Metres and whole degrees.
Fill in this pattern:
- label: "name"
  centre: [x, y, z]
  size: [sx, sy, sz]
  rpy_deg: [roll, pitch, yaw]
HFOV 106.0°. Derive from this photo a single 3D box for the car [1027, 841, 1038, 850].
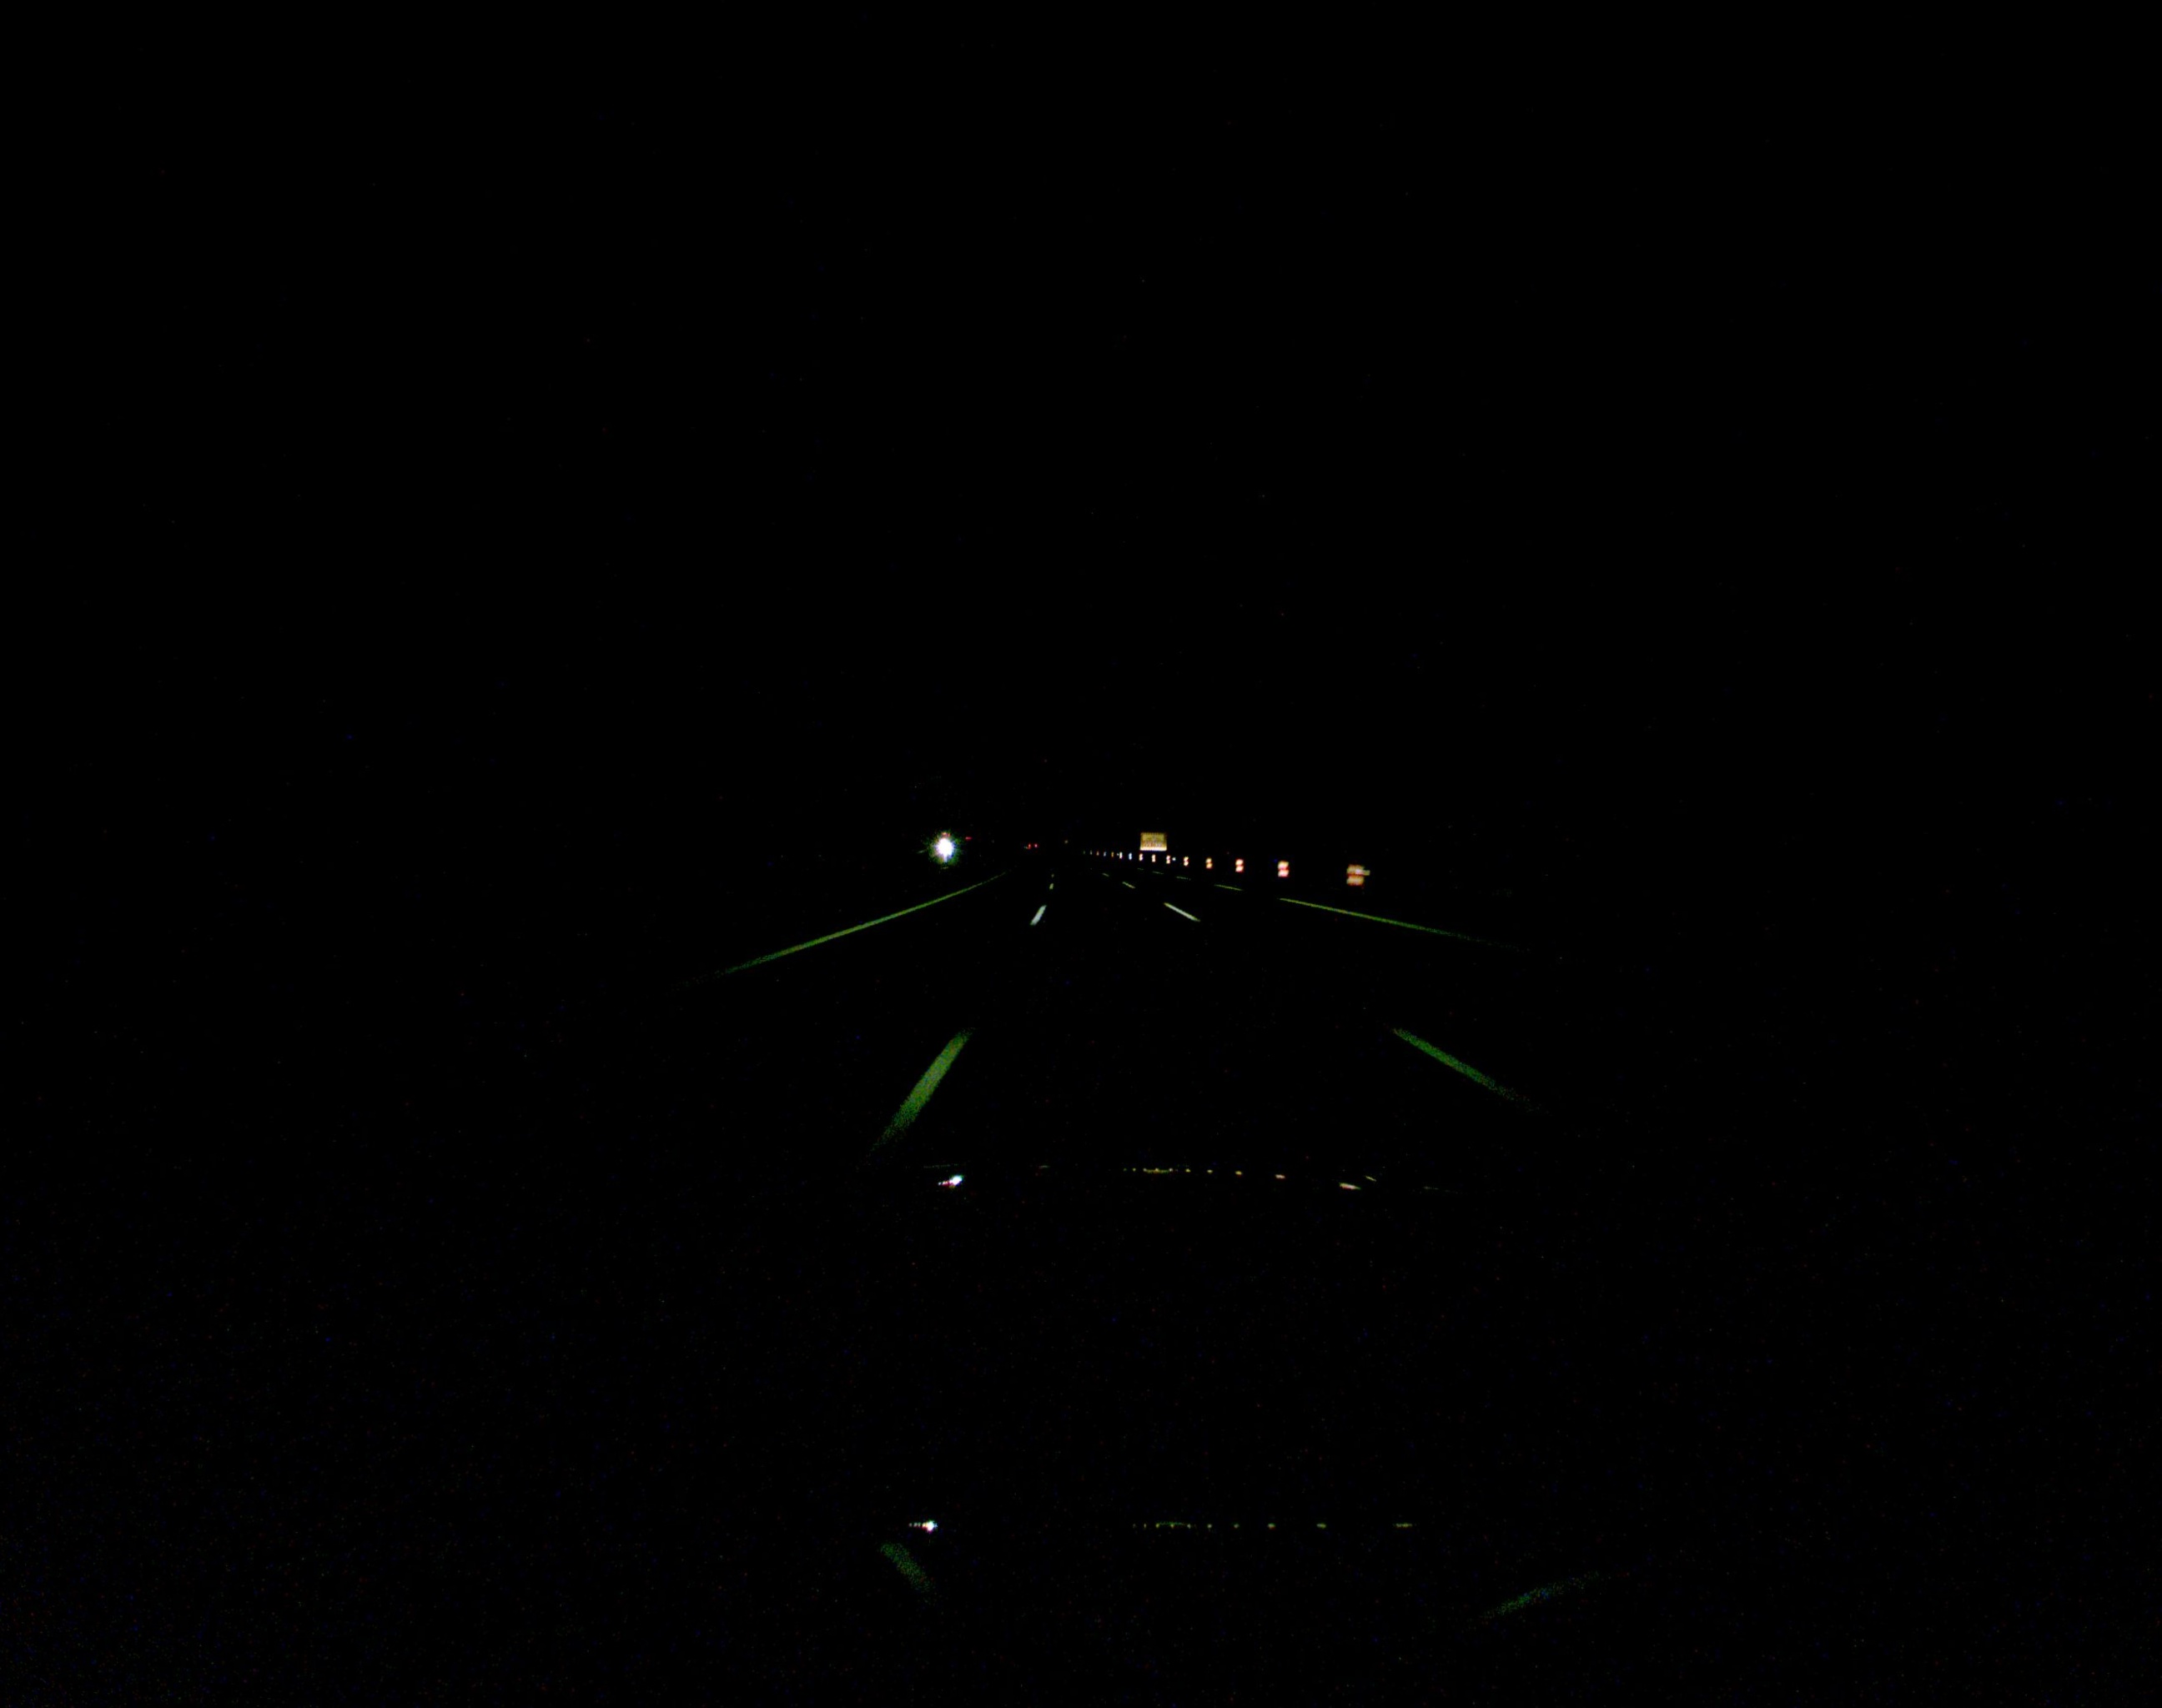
- label: "car"
  centre: [-14.049, -2.435, 235.125]
  size: [2.527, 2.553, 6.034]
  rpy_deg: [1, 1, -9]
